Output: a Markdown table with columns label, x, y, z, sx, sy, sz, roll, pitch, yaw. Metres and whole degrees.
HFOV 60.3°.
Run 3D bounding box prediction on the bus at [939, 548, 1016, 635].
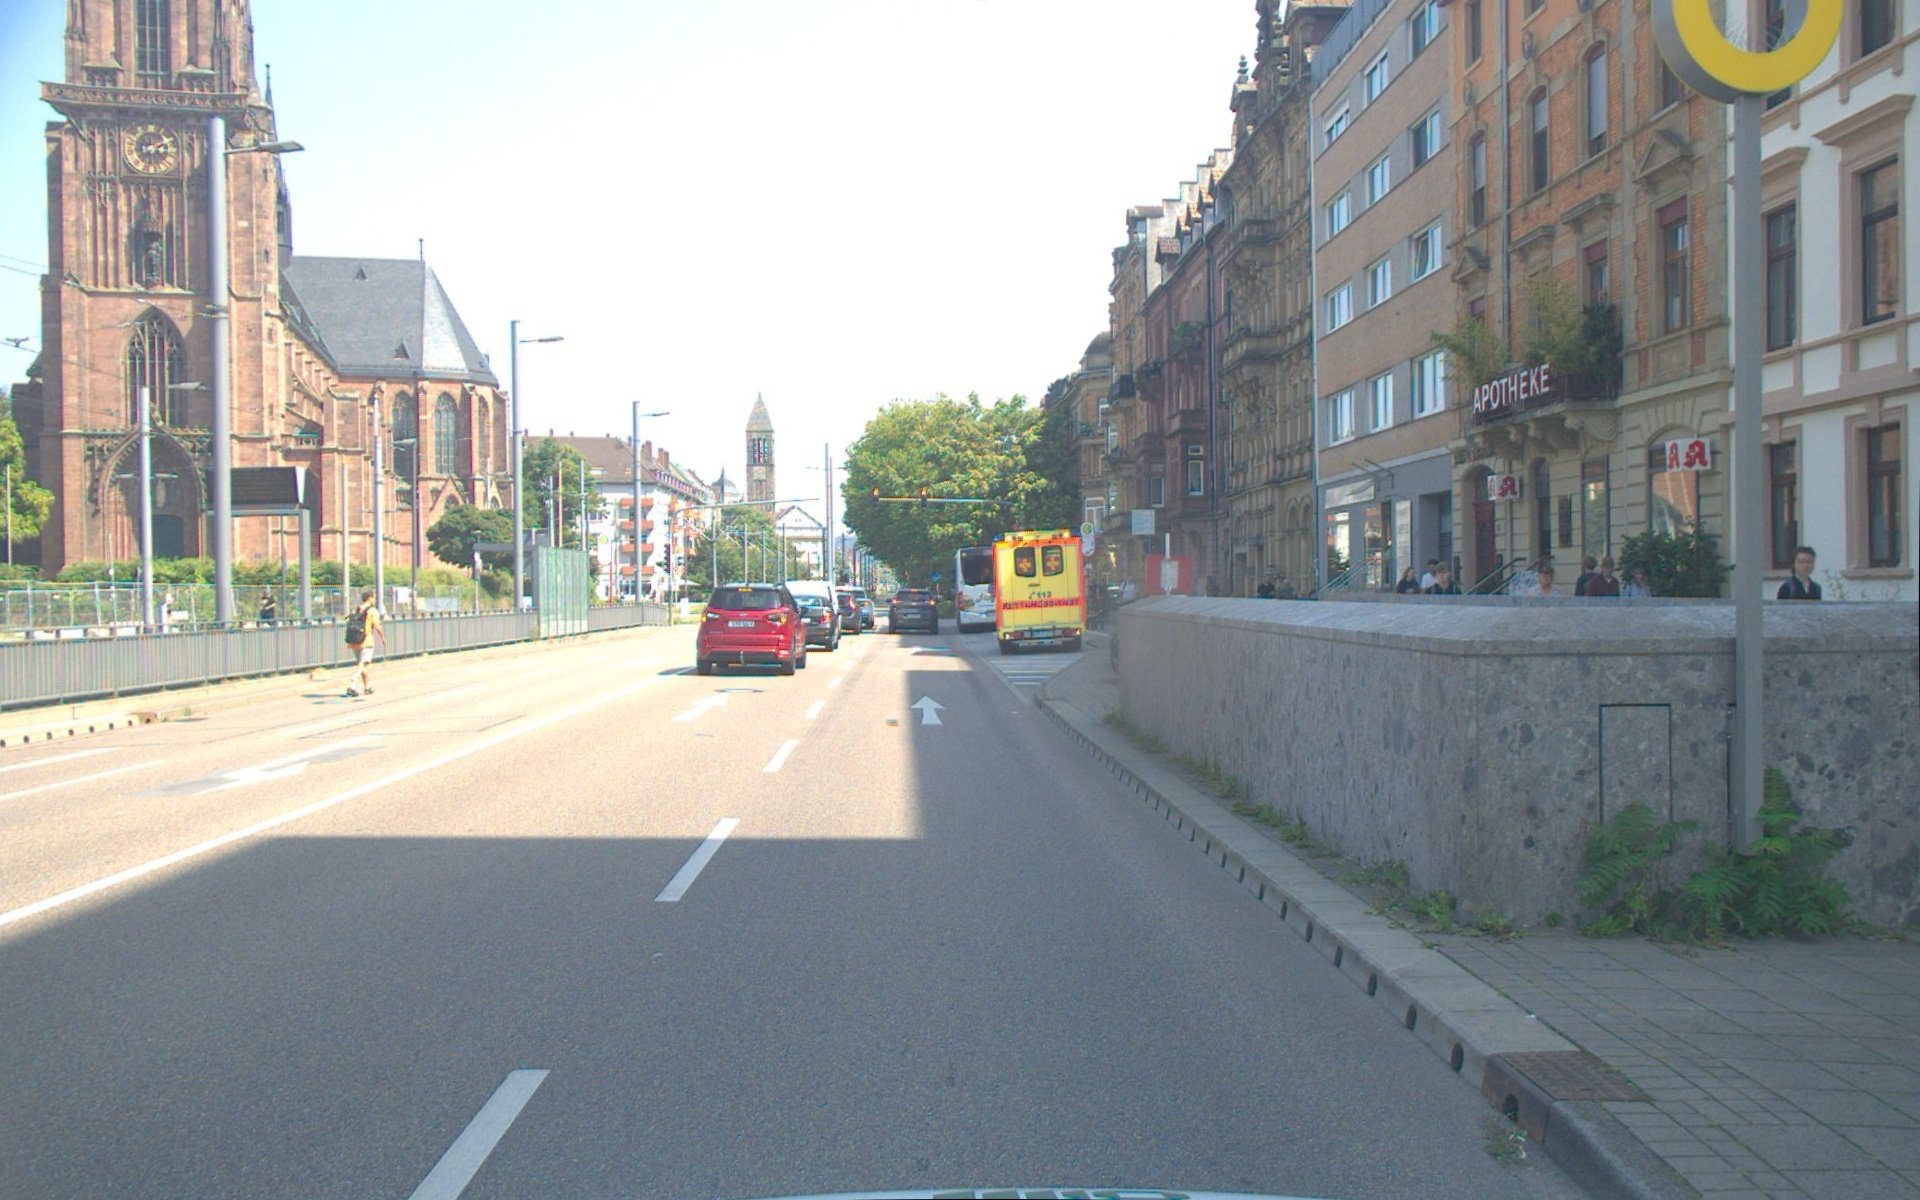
| label | x | y | z | sx | sy | sz | roll | pitch | yaw |
| --- | --- | --- | --- | --- | --- | --- | --- | --- | --- |
| bus | 0.554 | -0.326 | 65.631 | 2.483 | 3.085 | 12.431 | -1 | 0 | -2 |

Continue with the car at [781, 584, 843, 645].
| label | x | y | z | sx | sy | sz | roll | pitch | yaw |
| --- | --- | --- | --- | --- | --- | --- | --- | --- | --- |
| car | -4.564 | 0.446 | 51.390 | 1.754 | 1.811 | 3.997 | -1 | -1 | -3 |

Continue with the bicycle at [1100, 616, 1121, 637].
| label | x | y | z | sx | sy | sz | roll | pitch | yaw |
| --- | --- | --- | --- | --- | --- | --- | --- | --- | --- |
| bicycle | 6.240 | 1.093 | 68.693 | 0.577 | 0.870 | 1.774 | -1 | 0 | -3 |

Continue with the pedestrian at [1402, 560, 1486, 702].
| label | x | y | z | sx | sy | sz | roll | pitch | yaw |
| --- | --- | --- | --- | --- | --- | --- | --- | --- | --- |
| pedestrian | 6.282 | 0.383 | 21.519 | 0.832 | 1.759 | 0.972 | -2 | 2 | 5 |

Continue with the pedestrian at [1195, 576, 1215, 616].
| label | x | y | z | sx | sy | sz | roll | pitch | yaw |
| --- | --- | --- | --- | --- | --- | --- | --- | --- | --- |
| pedestrian | 10.146 | -0.169 | 68.433 | 0.611 | 1.621 | 0.695 | -1 | 0 | -8 |

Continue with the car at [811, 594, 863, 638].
| label | x | y | z | sx | sy | sz | roll | pitch | yaw |
| --- | --- | --- | --- | --- | --- | --- | --- | --- | --- |
| car | -4.410 | 0.579 | 59.744 | 1.754 | 1.498 | 3.997 | -1 | -1 | -3 |

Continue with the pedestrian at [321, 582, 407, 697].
| label | x | y | z | sx | sy | sz | roll | pitch | yaw |
| --- | --- | --- | --- | --- | --- | --- | --- | --- | --- |
| pedestrian | -9.488 | 0.616 | 26.361 | 0.745 | 1.782 | 1.069 | -1 | -1 | 22 |

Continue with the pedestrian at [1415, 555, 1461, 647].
| label | x | y | z | sx | sy | sz | roll | pitch | yaw |
| --- | --- | --- | --- | --- | --- | --- | --- | --- | --- |
| pedestrian | 9.808 | 0.013 | 33.968 | 0.587 | 1.826 | 0.879 | -3 | 0 | -2 |

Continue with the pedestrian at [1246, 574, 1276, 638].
| label | x | y | z | sx | sy | sz | roll | pitch | yaw |
| --- | --- | --- | --- | --- | --- | --- | --- | --- | --- |
| pedestrian | 8.168 | 0.150 | 44.885 | 0.630 | 1.714 | 0.789 | -1 | 0 | -2 |

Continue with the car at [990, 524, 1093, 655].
| label | x | y | z | sx | sy | sz | roll | pitch | yaw |
| --- | --- | --- | --- | --- | --- | --- | --- | --- | --- |
| car | 1.963 | -0.267 | 40.812 | 2.251 | 2.939 | 5.601 | -2 | 1 | 2 |

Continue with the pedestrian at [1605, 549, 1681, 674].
| label | x | y | z | sx | sy | sz | roll | pitch | yaw |
| --- | --- | --- | --- | --- | --- | --- | --- | --- | --- |
| pedestrian | 10.125 | 0.149 | 24.555 | 0.670 | 1.805 | 1.017 | -1 | 1 | -2 |

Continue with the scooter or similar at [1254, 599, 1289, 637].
| label | x | y | z | sx | sy | sz | roll | pitch | yaw |
| --- | --- | --- | --- | --- | --- | --- | --- | --- | --- |
| scooter or similar | 10.138 | 0.574 | 53.842 | 0.505 | 1.217 | 1.296 | -1 | 0 | -21 |

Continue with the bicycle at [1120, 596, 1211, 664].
| label | x | y | z | sx | sy | sz | roll | pitch | yaw |
| --- | --- | --- | --- | --- | --- | --- | --- | --- | --- |
| bicycle | 3.801 | 0.545 | 30.701 | 1.638 | 1.237 | 0.644 | 0 | 0 | 3 |

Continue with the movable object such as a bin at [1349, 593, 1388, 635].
| label | x | y | z | sx | sy | sz | roll | pitch | yaw |
| --- | --- | --- | --- | --- | --- | --- | --- | --- | --- |
| movable object such as a bin | 10.617 | 0.356 | 43.027 | 0.752 | 1.066 | 0.643 | -1 | 0 | 45 |

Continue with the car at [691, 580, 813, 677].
| label | x | y | z | sx | sy | sz | roll | pitch | yaw |
| --- | --- | --- | --- | --- | --- | --- | --- | --- | --- |
| car | -3.797 | 0.481 | 30.732 | 1.726 | 1.646 | 4.082 | -1 | 0 | 0 |

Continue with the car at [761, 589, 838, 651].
| label | x | y | z | sx | sy | sz | roll | pitch | yaw |
| --- | --- | --- | --- | --- | --- | --- | --- | --- | --- |
| car | -4.029 | 0.480 | 42.001 | 1.754 | 1.456 | 3.997 | -1 | 0 | -4 |

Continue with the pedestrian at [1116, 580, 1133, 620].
| label | x | y | z | sx | sy | sz | roll | pitch | yaw |
| --- | --- | --- | --- | --- | --- | --- | --- | --- | --- |
| pedestrian | 7.076 | 0.011 | 71.151 | 0.682 | 1.696 | 0.603 | -1 | 0 | 0 |

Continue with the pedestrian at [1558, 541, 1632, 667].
| label | x | y | z | sx | sy | sz | roll | pitch | yaw |
| --- | --- | --- | --- | --- | --- | --- | --- | --- | --- |
| pedestrian | 9.391 | 0.045 | 24.480 | 0.670 | 1.805 | 1.017 | -1 | 1 | -2 |

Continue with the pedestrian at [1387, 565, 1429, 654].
| label | x | y | z | sx | sy | sz | roll | pitch | yaw |
| --- | --- | --- | --- | --- | --- | --- | --- | --- | --- |
| pedestrian | 9.205 | 0.193 | 34.019 | 0.565 | 1.780 | 0.679 | -3 | 0 | -2 |

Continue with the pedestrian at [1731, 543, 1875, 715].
| label | x | y | z | sx | sy | sz | roll | pitch | yaw |
| --- | --- | --- | --- | --- | --- | --- | --- | --- | --- |
| pedestrian | 8.214 | 0.267 | 16.124 | 0.843 | 1.609 | 0.959 | -1 | 0 | -35 |

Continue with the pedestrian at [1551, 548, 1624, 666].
| label | x | y | z | sx | sy | sz | roll | pitch | yaw |
| --- | --- | --- | --- | --- | --- | --- | --- | --- | --- |
| pedestrian | 10.362 | 0.111 | 27.312 | 0.826 | 1.878 | 0.684 | -3 | 0 | -11 |

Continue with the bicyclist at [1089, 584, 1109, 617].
| label | x | y | z | sx | sy | sz | roll | pitch | yaw |
| --- | --- | --- | --- | --- | --- | --- | --- | --- | --- |
| bicyclist | 5.771 | 0.027 | 68.674 | 0.738 | 1.345 | 0.581 | -1 | 0 | -2 |

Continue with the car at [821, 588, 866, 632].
| label | x | y | z | sx | sy | sz | roll | pitch | yaw |
| --- | --- | --- | --- | --- | --- | --- | --- | --- | --- |
| car | -4.722 | 0.411 | 67.662 | 1.754 | 1.728 | 3.997 | -1 | -1 | -3 |

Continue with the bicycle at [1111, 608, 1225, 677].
| label | x | y | z | sx | sy | sz | roll | pitch | yaw |
| --- | --- | --- | --- | --- | --- | --- | --- | --- | --- |
| bicycle | 3.343 | 0.673 | 26.612 | 1.798 | 1.090 | 0.365 | 0 | 1 | -2 |

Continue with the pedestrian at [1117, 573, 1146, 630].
| label | x | y | z | sx | sy | sz | roll | pitch | yaw |
| --- | --- | --- | --- | --- | --- | --- | --- | --- | --- |
| pedestrian | 5.153 | 0.042 | 49.649 | 0.683 | 1.696 | 0.602 | -1 | 0 | 24 |

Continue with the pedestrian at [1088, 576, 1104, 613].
| label | x | y | z | sx | sy | sz | roll | pitch | yaw |
| --- | --- | --- | --- | --- | --- | --- | --- | --- | --- |
| pedestrian | 6.415 | -0.251 | 77.947 | 0.682 | 1.696 | 1.064 | -1 | 0 | 0 |

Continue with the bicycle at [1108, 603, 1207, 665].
| label | x | y | z | sx | sy | sz | roll | pitch | yaw |
| --- | --- | --- | --- | --- | --- | --- | --- | --- | --- |
| bicycle | 3.575 | 0.614 | 29.998 | 1.739 | 1.090 | 0.644 | 0 | 0 | 2 |

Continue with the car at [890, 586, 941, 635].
| label | x | y | z | sx | sy | sz | roll | pitch | yaw |
| --- | --- | --- | --- | --- | --- | --- | --- | --- | --- |
| car | -1.689 | 0.390 | 61.168 | 1.754 | 1.707 | 3.997 | -1 | -1 | -3 |

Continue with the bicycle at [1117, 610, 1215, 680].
| label | x | y | z | sx | sy | sz | roll | pitch | yaw |
| --- | --- | --- | --- | --- | --- | --- | --- | --- | --- |
| bicycle | 3.253 | 0.706 | 26.158 | 1.506 | 1.090 | 0.365 | 0 | 1 | -2 |

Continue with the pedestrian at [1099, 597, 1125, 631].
| label | x | y | z | sx | sy | sz | roll | pitch | yaw |
| --- | --- | --- | --- | --- | --- | --- | --- | --- | --- |
| pedestrian | 8.438 | 0.754 | 91.751 | 1.224 | 1.782 | 1.526 | -1 | 2 | -1 |

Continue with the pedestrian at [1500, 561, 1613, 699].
| label | x | y | z | sx | sy | sz | roll | pitch | yaw |
| --- | --- | --- | --- | --- | --- | --- | --- | --- | --- |
| pedestrian | 7.204 | 0.350 | 19.988 | 0.843 | 1.609 | 0.959 | -1 | 0 | -35 |

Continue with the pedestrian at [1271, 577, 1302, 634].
| label | x | y | z | sx | sy | sz | roll | pitch | yaw |
| --- | --- | --- | --- | --- | --- | --- | --- | --- | --- |
| pedestrian | 8.849 | 0.146 | 44.860 | 0.630 | 1.519 | 0.789 | -1 | 0 | -2 |

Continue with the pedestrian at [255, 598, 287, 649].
| label | x | y | z | sx | sy | sz | roll | pitch | yaw |
| --- | --- | --- | --- | --- | --- | --- | --- | --- | --- |
| pedestrian | -24.208 | 0.817 | 58.135 | 0.812 | 1.782 | 0.720 | -1 | -1 | -1 |

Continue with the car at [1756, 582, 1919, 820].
| label | x | y | z | sx | sy | sz | roll | pitch | yaw |
| --- | --- | --- | --- | --- | --- | --- | --- | --- | --- |
| car | 6.864 | 0.644 | 10.700 | 1.598 | 1.465 | 3.619 | -1 | 1 | -2 |
